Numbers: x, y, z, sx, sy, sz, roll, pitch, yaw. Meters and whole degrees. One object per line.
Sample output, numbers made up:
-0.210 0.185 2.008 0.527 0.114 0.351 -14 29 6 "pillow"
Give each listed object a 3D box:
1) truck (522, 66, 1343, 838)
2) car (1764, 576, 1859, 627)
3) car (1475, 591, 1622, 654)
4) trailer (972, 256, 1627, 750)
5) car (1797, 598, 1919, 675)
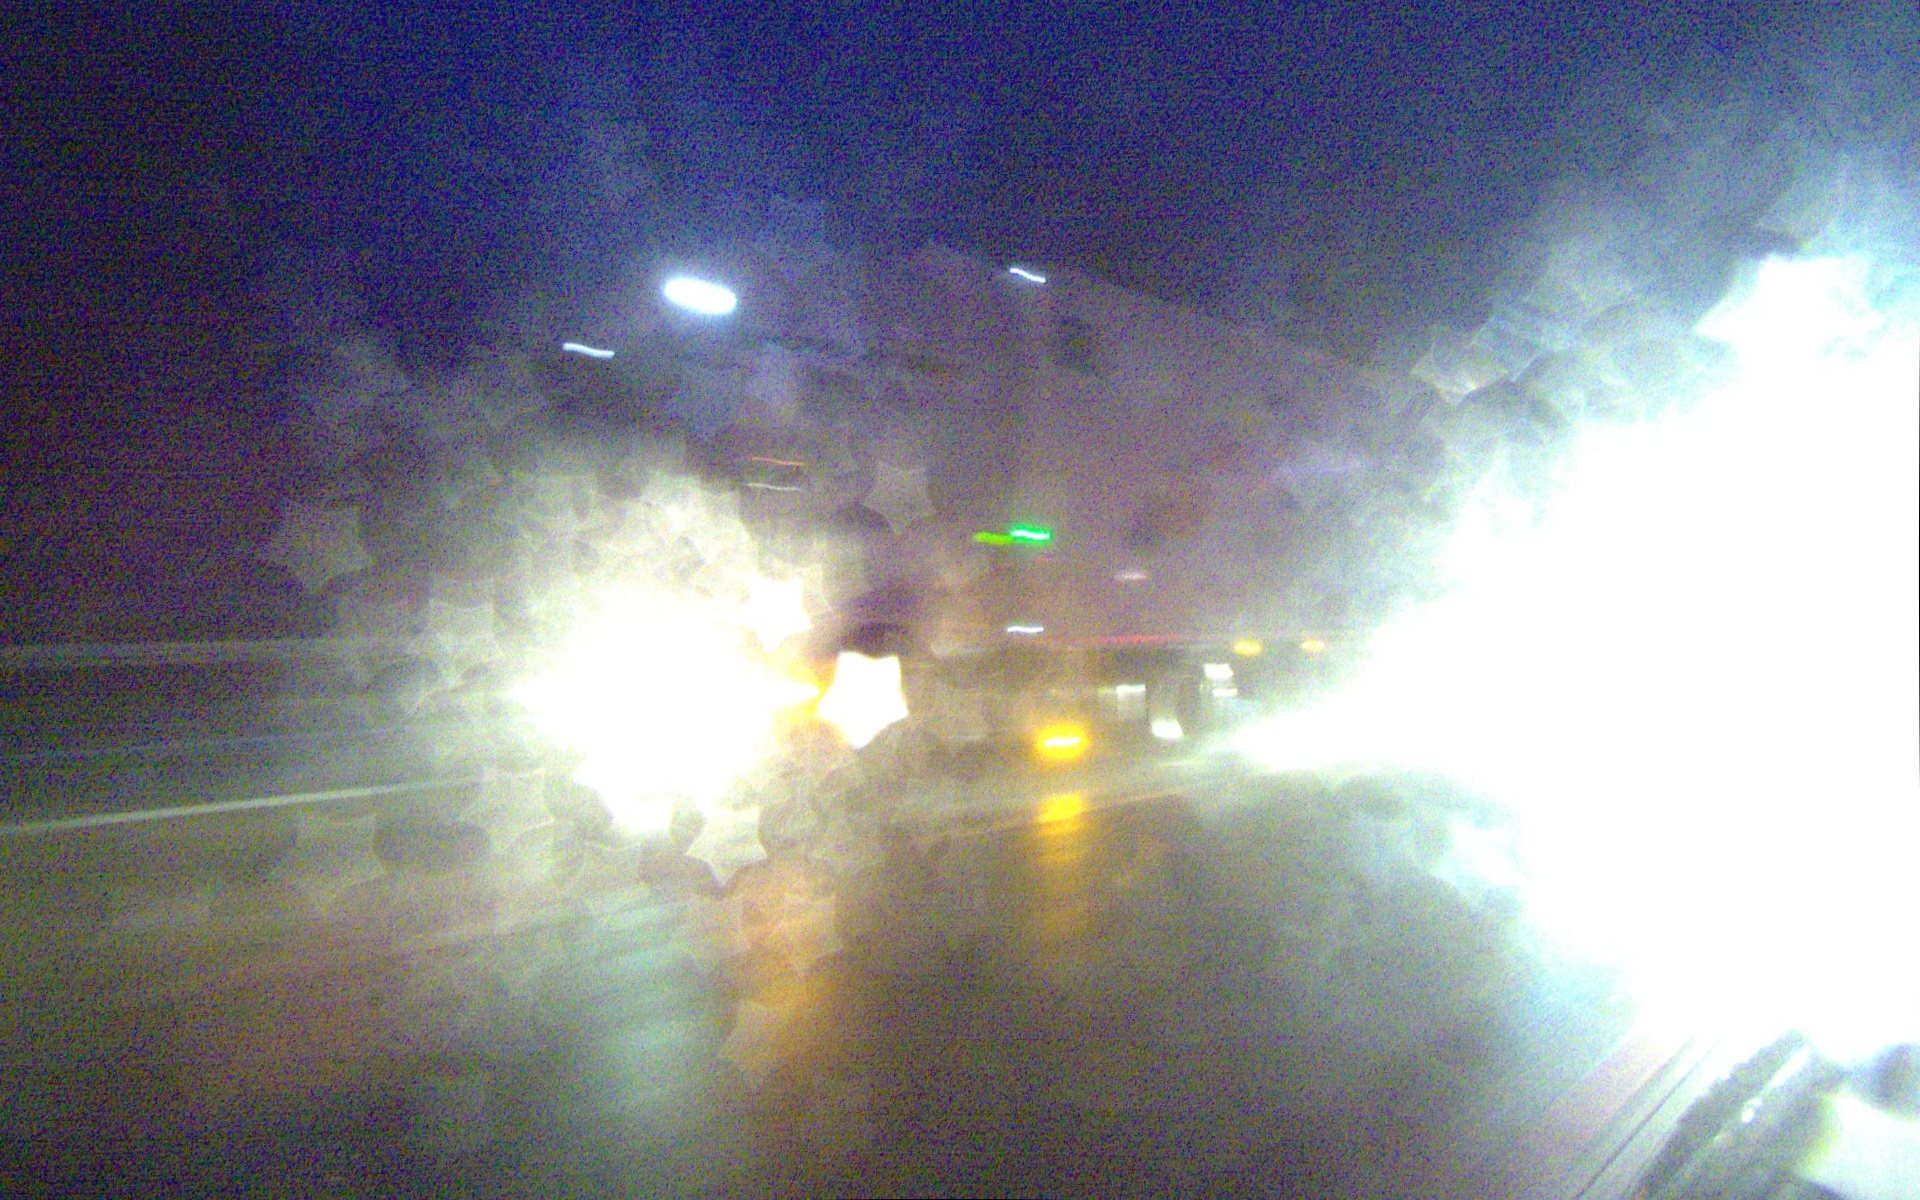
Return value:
0.296 -0.851 9.136 7.317 4.321 2.808 0 0 -41 "truck"
35.938 0.045 42.688 5.308 1.999 2.051 0 1 -39 "car"
15.378 0.549 26.328 4.876 1.505 1.897 0 -1 -42 "car"
5.519 -0.862 13.716 11.885 4.265 2.808 0 0 -41 "trailer"
18.651 0.682 20.775 3.724 1.430 1.615 0 0 -40 "car"
